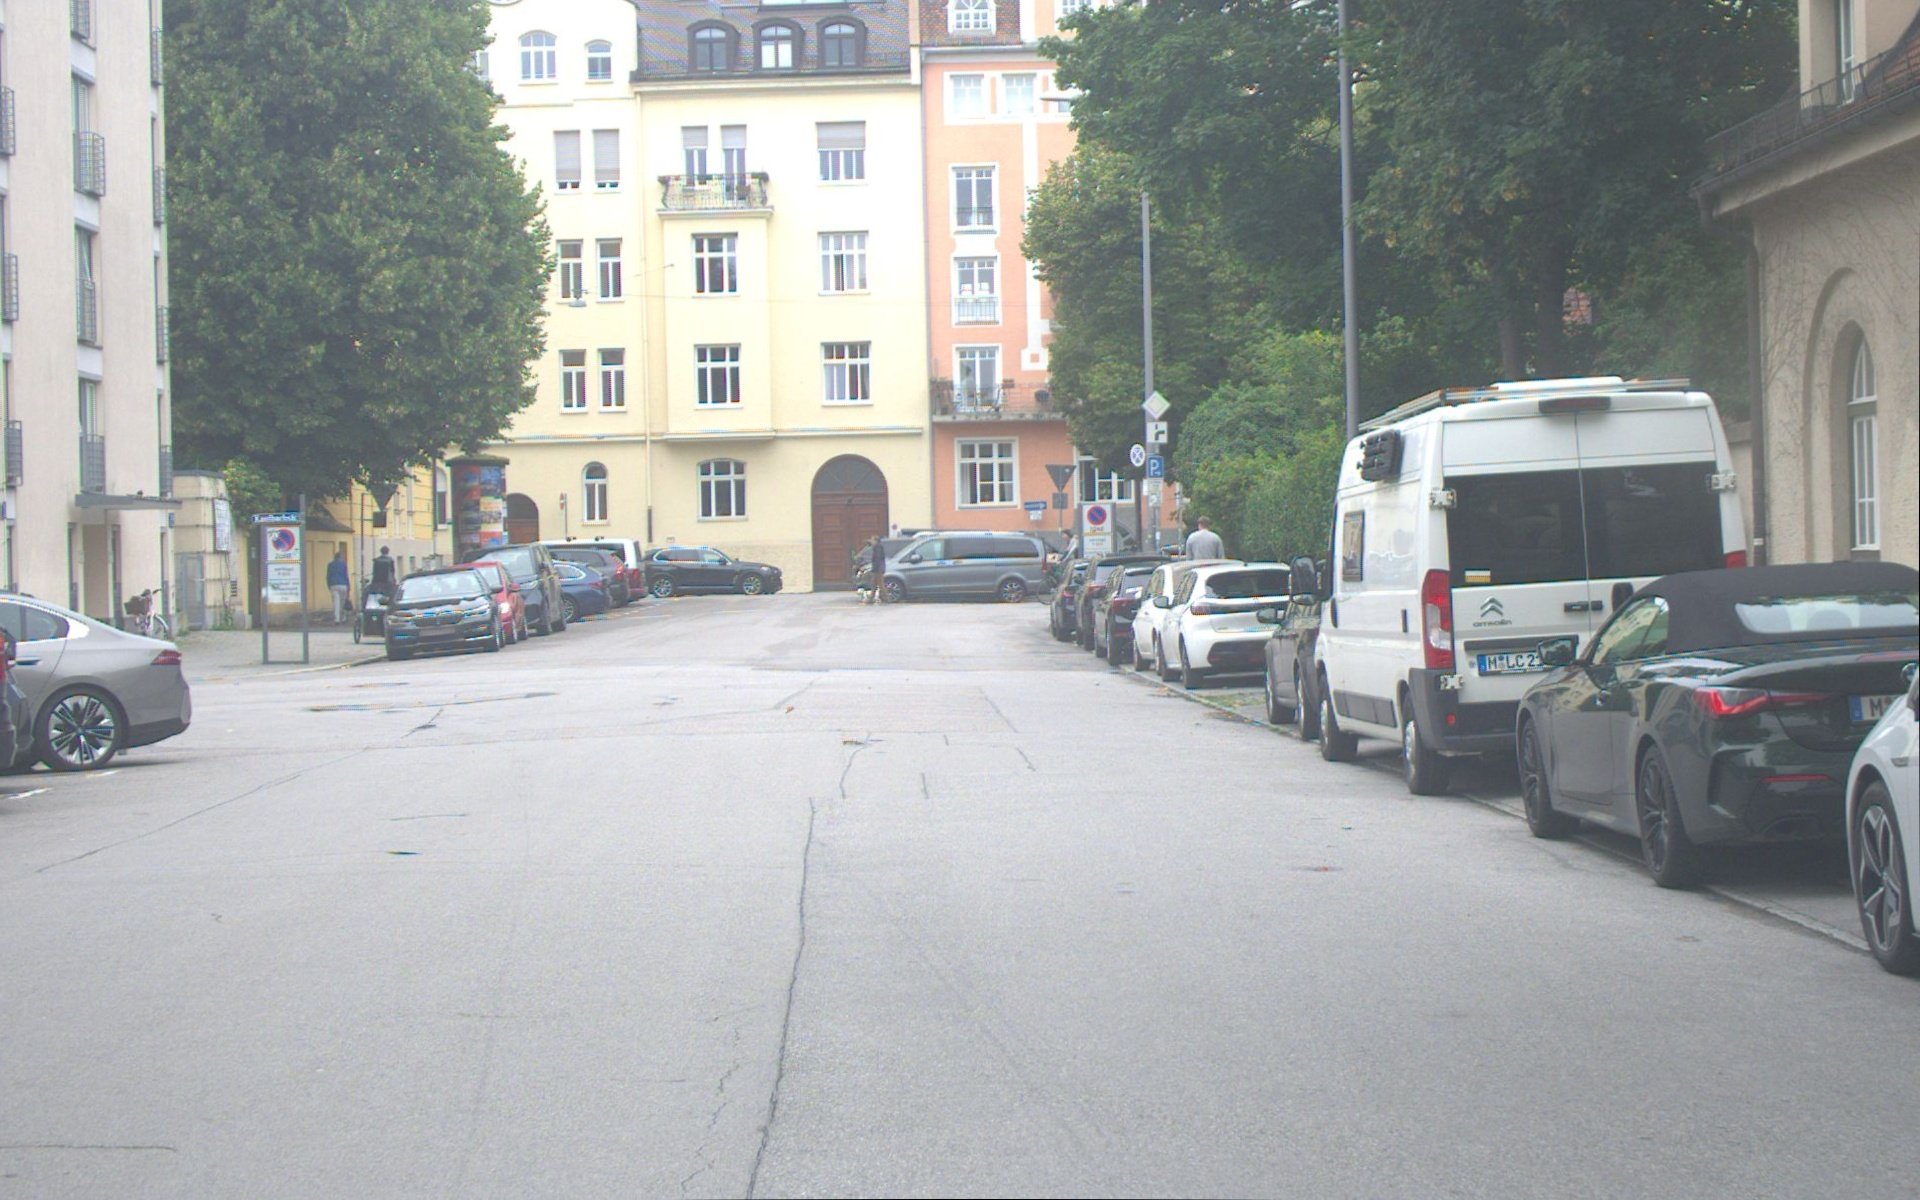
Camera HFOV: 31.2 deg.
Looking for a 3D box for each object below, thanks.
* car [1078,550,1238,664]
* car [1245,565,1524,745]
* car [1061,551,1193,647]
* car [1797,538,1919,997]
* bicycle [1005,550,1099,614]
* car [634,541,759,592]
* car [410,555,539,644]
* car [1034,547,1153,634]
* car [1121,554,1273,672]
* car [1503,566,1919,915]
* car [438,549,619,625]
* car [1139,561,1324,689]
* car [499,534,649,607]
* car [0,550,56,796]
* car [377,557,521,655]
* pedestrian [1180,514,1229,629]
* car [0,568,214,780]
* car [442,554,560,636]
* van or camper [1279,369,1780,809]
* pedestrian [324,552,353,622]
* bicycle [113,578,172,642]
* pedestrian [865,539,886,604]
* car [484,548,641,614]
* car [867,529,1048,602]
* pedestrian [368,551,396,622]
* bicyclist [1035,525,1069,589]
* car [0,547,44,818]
[{"bbox_3d":[2.899,0.072,51.081,1.803,1.461,3.838,-3,2,-5],"label":"car"},{"bbox_3d":[3.612,0.426,29.901,1.707,1.364,4.130,-2,1,-2],"label":"car"},{"bbox_3d":[2.714,-0.043,56.518,1.670,1.339,3.838,-2,2,-4],"label":"car"},{"bbox_3d":[4.066,0.542,10.839,1.707,1.532,4.240,-3,1,0],"label":"car"},{"bbox_3d":[2.183,-0.423,81.867,2.217,1.505,0.655,0,1,-1],"label":"bicycle"},{"bbox_3d":[-8.725,-1.118,113.982,3.987,1.581,1.703,-1,1,0],"label":"car"},{"bbox_3d":[-9.172,-0.036,65.266,1.834,1.503,4.000,-4,1,-1],"label":"car"},{"bbox_3d":[2.359,-0.190,61.434,1.670,1.339,3.838,-2,2,-4],"label":"car"},{"bbox_3d":[3.184,0.148,46.792,1.707,1.461,3.838,-2,1,0],"label":"car"},{"bbox_3d":[3.892,0.567,16.633,1.707,1.364,4.441,-2,1,-1],"label":"car"},{"bbox_3d":[-10.192,-0.313,81.446,3.987,1.503,1.840,-4,1,-1],"label":"car"},{"bbox_3d":[3.252,0.268,41.852,1.707,1.403,4.130,-2,1,-2],"label":"car"},{"bbox_3d":[-11.004,-0.845,98.184,3.987,1.793,1.840,-4,1,-1],"label":"car"},{"bbox_3d":[-8.617,0.602,23.911,4.106,1.702,1.737,-3,1,-31],"label":"car"},{"bbox_3d":[-8.769,0.074,59.318,1.834,1.503,4.000,-4,1,-1],"label":"car"},{"bbox_3d":[4.297,-0.502,60.478,0.773,2.007,0.563,-1,1,-1],"label":"pedestrian"},{"bbox_3d":[-8.337,0.645,27.753,4.106,1.604,1.737,-3,1,-33],"label":"car"},{"bbox_3d":[-9.335,-0.127,70.163,1.834,1.503,4.000,-4,1,-1],"label":"car"},{"bbox_3d":[3.687,-0.111,23.488,2.192,2.541,5.729,-3,1,-2],"label":"van or camper"},{"bbox_3d":[-14.692,-0.312,81.280,0.571,1.651,0.465,-1,1,-1],"label":"pedestrian"},{"bbox_3d":[-15.150,0.176,63.781,0.637,1.145,2.425,0,1,-3],"label":"bicycle"},{"bbox_3d":[-2.159,-0.724,87.619,0.463,1.651,0.573,-1,1,-6],"label":"pedestrian"},{"bbox_3d":[-10.783,-0.534,93.401,3.987,1.503,1.840,-4,1,-1],"label":"car"},{"bbox_3d":[-0.086,-0.931,91.585,4.703,1.874,1.840,-1,1,-3],"label":"car"},{"bbox_3d":[-13.648,-0.319,81.185,0.571,1.651,0.465,-1,1,-1],"label":"pedestrian"},{"bbox_3d":[2.194,-1.025,81.857,0.766,1.505,0.655,0,1,-2],"label":"bicyclist"},{"bbox_3d":[-8.064,0.619,21.536,4.106,1.702,1.737,-3,1,-31],"label":"car"}]
